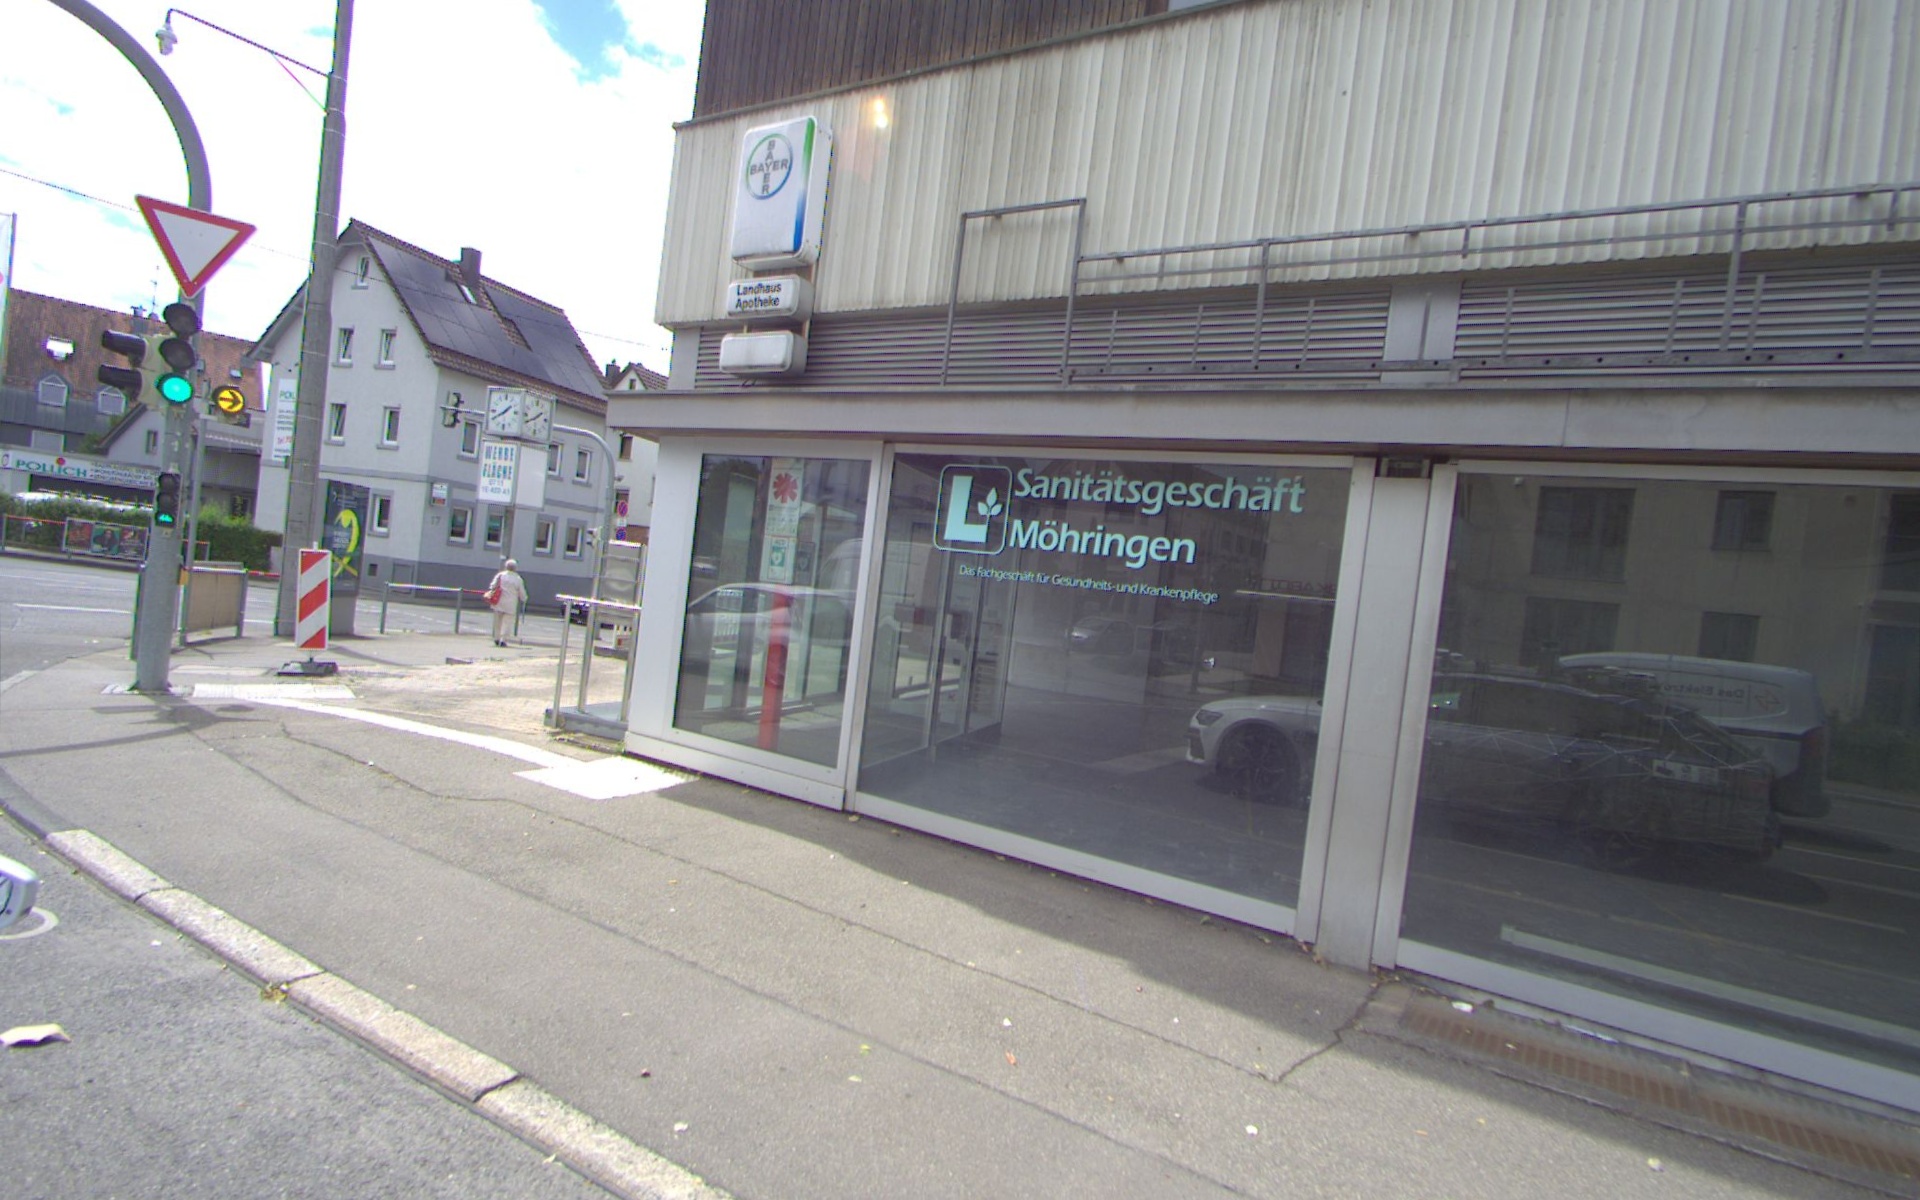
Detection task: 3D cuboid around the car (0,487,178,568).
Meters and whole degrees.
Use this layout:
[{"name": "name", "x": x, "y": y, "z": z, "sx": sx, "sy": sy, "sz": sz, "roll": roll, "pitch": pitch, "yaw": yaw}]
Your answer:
[{"name": "car", "x": -29.310, "y": -2.378, "z": 33.954, "sx": 1.964, "sy": 2.037, "sz": 4.000, "roll": 7, "pitch": -1, "yaw": 24}]

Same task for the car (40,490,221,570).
[{"name": "car", "x": -27.110, "y": -2.238, "z": 33.041, "sx": 1.964, "sy": 1.970, "sz": 4.000, "roll": 6, "pitch": -1, "yaw": 23}]

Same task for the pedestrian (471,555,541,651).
[{"name": "pedestrian", "x": -8.334, "y": 0.053, "z": 18.455, "sx": 0.830, "sy": 1.657, "sz": 0.864, "roll": 6, "pitch": -2, "yaw": -42}]

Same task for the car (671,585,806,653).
[{"name": "car", "x": -7.093, "y": 0.677, "z": 32.789, "sx": 1.882, "sy": 1.815, "sz": 4.490, "roll": 7, "pitch": -1, "yaw": 23}]

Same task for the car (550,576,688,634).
[{"name": "car", "x": -11.895, "y": 0.224, "z": 35.454, "sx": 1.963, "sy": 1.474, "sz": 4.618, "roll": 9, "pitch": -1, "yaw": 22}]
